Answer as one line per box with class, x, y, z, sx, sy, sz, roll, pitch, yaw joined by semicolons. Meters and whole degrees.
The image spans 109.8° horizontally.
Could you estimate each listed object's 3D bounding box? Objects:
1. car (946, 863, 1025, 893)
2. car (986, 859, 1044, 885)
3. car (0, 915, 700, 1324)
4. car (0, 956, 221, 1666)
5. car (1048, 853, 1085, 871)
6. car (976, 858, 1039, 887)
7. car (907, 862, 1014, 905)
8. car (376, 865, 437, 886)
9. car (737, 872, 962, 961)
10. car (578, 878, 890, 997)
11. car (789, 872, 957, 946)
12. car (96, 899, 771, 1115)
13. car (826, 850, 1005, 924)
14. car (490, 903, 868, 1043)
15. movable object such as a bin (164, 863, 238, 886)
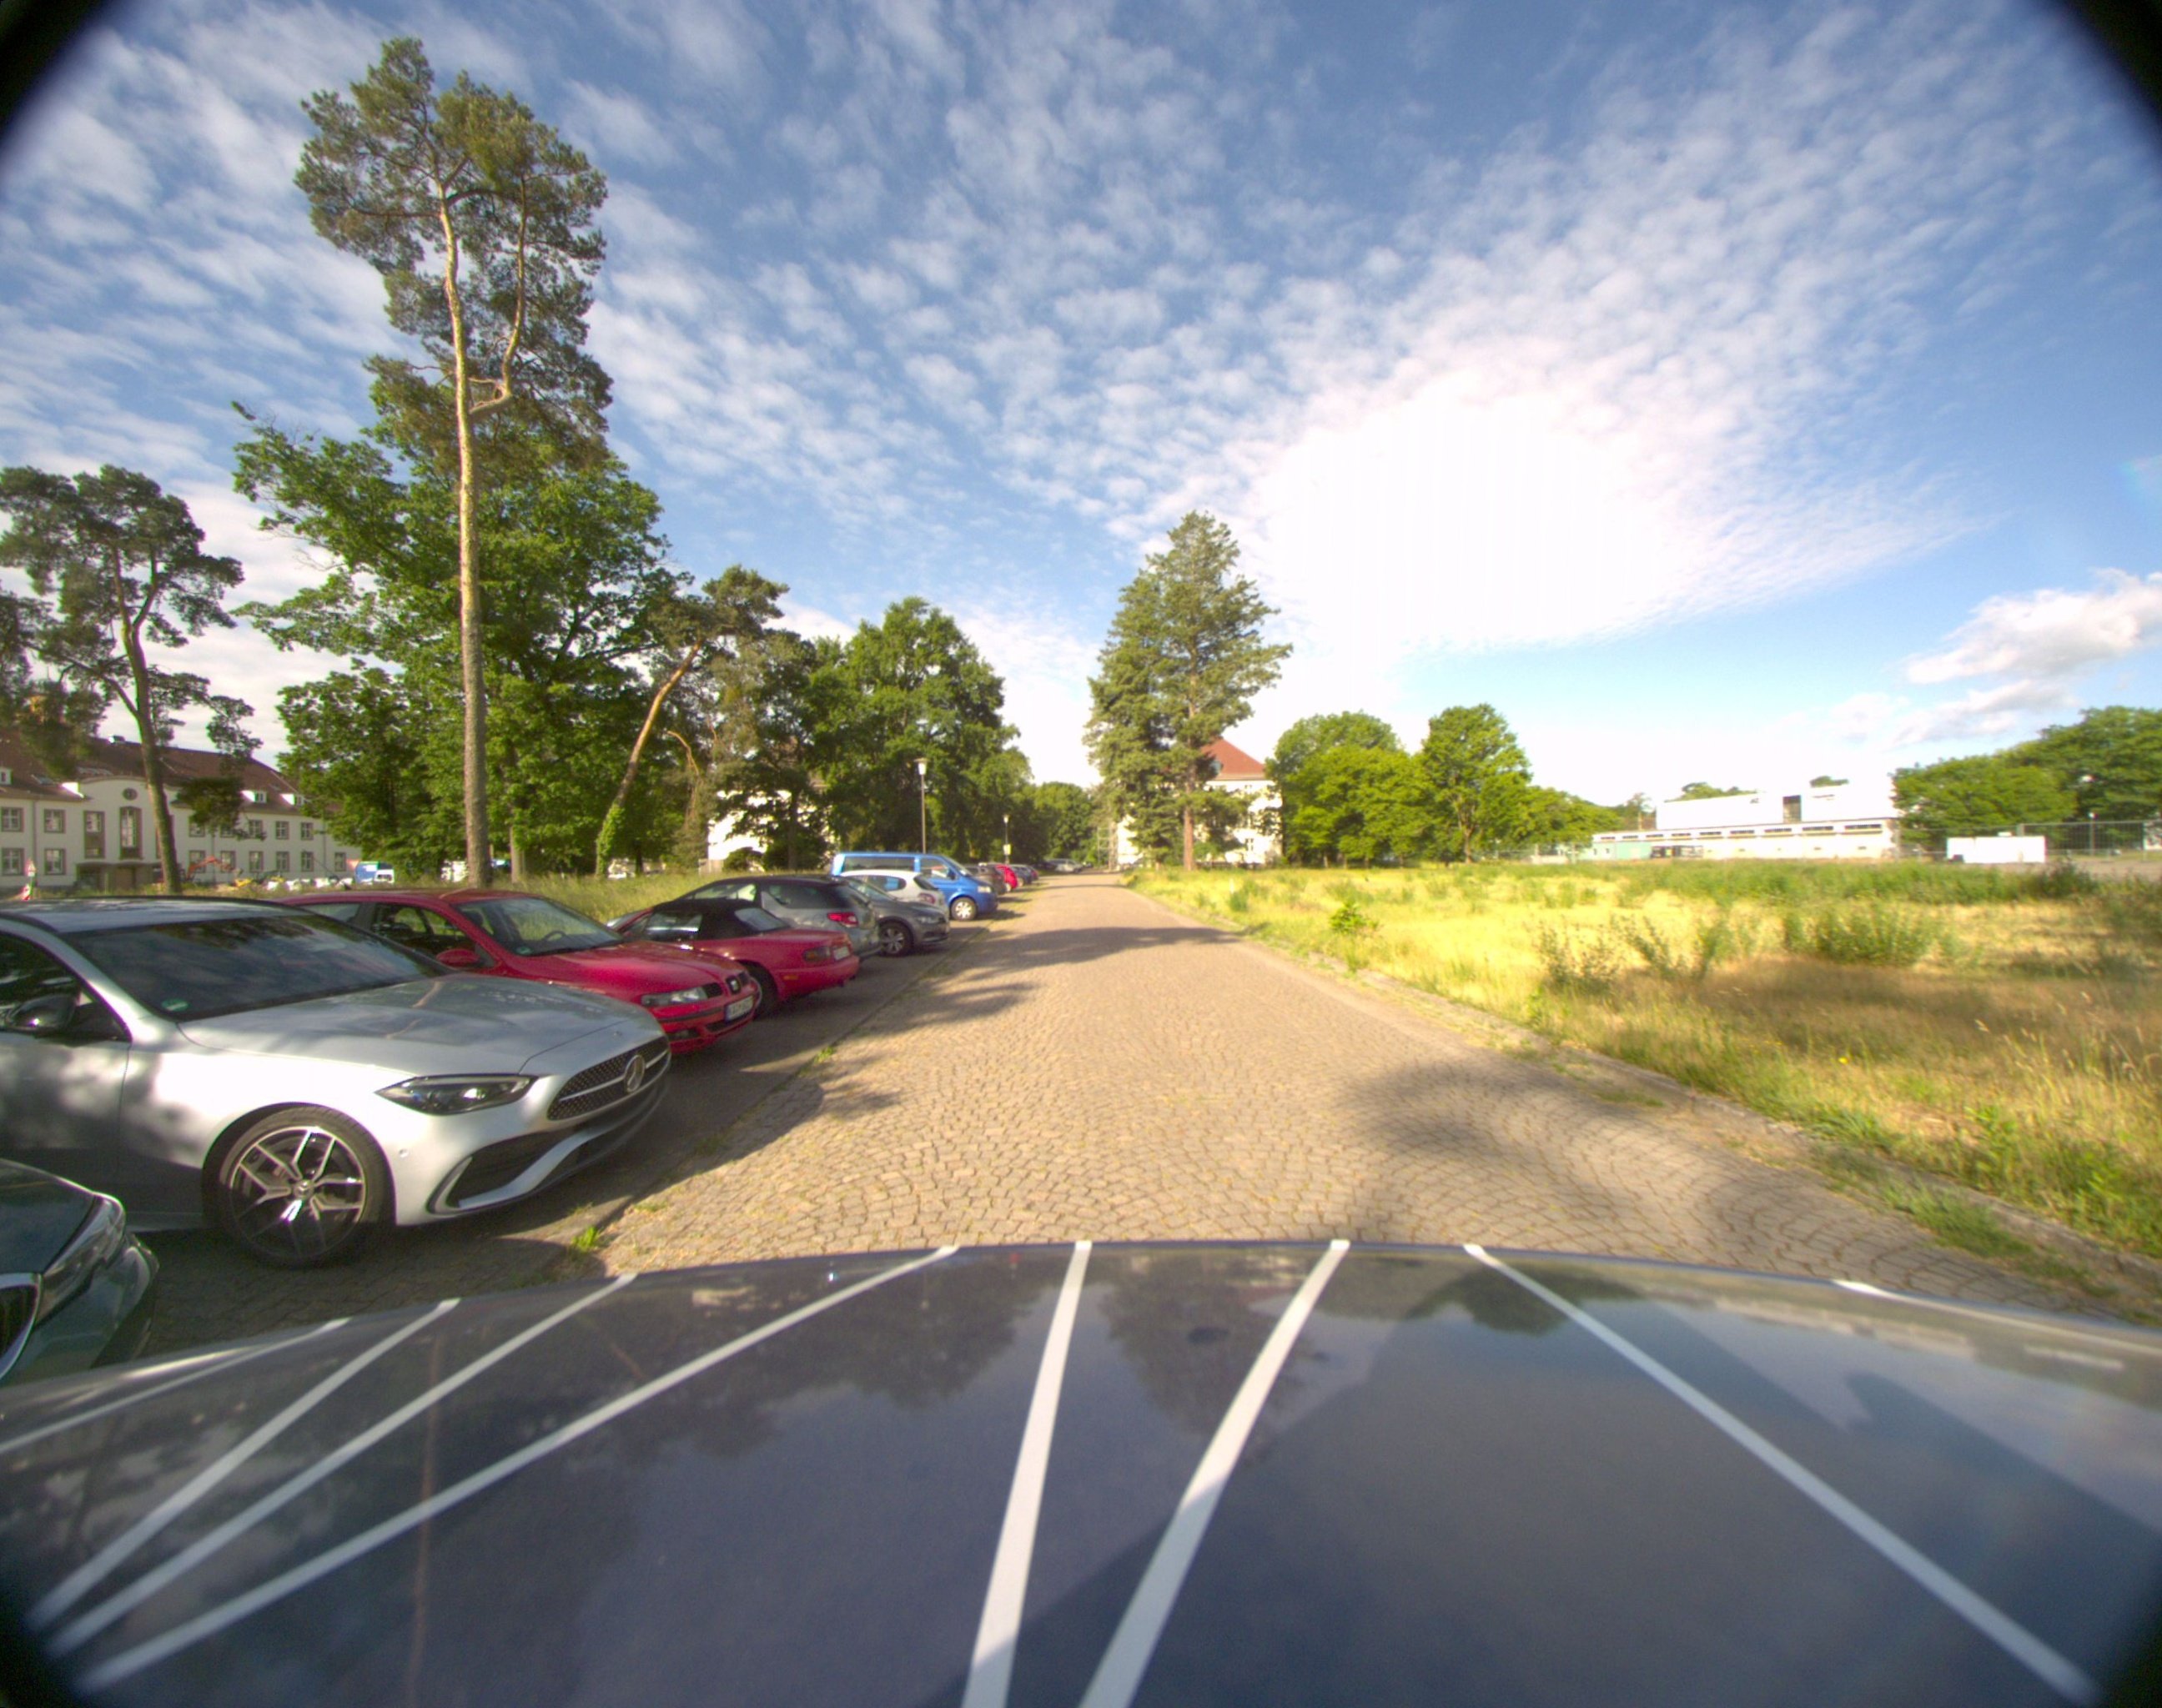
car;-5.181;1.301;41.420;3.996;1.509;1.757;-1;0;2
car;-4.882;1.343;56.475;3.996;1.605;1.757;-4;1;4
car;-4.574;1.081;3.771;4.423;1.394;1.826;0;0;-1
car;-4.607;1.035;1.068;4.507;1.507;1.825;0;0;-4
car;-1.978;1.101;105.159;5.068;2.251;2.000;-1;0;0
car;-4.972;1.232;51.683;3.996;1.731;1.757;-3;0;2
car;-4.879;1.169;31.136;3.996;1.630;1.757;-1;0;2
car;-69.093;2.210;77.924;1.998;2.002;4.773;-1;0;1
car;-4.191;1.119;13.964;3.621;1.481;1.509;-1;0;9
car;-4.857;1.142;11.002;3.779;1.481;1.549;-1;0;-1
car;-4.532;1.190;16.814;3.264;1.481;1.449;-1;0;2
car;-4.768;1.101;6.052;3.918;1.385;1.661;0;0;-1
car;-4.711;0.921;22.200;4.726;2.002;2.000;-1;0;1
car;-4.229;1.234;8.335;3.357;1.248;1.420;-1;0;-1
movable object such as a bin;-91.197;2.087;78.850;1.999;2.309;4.985;-1;0;-4
